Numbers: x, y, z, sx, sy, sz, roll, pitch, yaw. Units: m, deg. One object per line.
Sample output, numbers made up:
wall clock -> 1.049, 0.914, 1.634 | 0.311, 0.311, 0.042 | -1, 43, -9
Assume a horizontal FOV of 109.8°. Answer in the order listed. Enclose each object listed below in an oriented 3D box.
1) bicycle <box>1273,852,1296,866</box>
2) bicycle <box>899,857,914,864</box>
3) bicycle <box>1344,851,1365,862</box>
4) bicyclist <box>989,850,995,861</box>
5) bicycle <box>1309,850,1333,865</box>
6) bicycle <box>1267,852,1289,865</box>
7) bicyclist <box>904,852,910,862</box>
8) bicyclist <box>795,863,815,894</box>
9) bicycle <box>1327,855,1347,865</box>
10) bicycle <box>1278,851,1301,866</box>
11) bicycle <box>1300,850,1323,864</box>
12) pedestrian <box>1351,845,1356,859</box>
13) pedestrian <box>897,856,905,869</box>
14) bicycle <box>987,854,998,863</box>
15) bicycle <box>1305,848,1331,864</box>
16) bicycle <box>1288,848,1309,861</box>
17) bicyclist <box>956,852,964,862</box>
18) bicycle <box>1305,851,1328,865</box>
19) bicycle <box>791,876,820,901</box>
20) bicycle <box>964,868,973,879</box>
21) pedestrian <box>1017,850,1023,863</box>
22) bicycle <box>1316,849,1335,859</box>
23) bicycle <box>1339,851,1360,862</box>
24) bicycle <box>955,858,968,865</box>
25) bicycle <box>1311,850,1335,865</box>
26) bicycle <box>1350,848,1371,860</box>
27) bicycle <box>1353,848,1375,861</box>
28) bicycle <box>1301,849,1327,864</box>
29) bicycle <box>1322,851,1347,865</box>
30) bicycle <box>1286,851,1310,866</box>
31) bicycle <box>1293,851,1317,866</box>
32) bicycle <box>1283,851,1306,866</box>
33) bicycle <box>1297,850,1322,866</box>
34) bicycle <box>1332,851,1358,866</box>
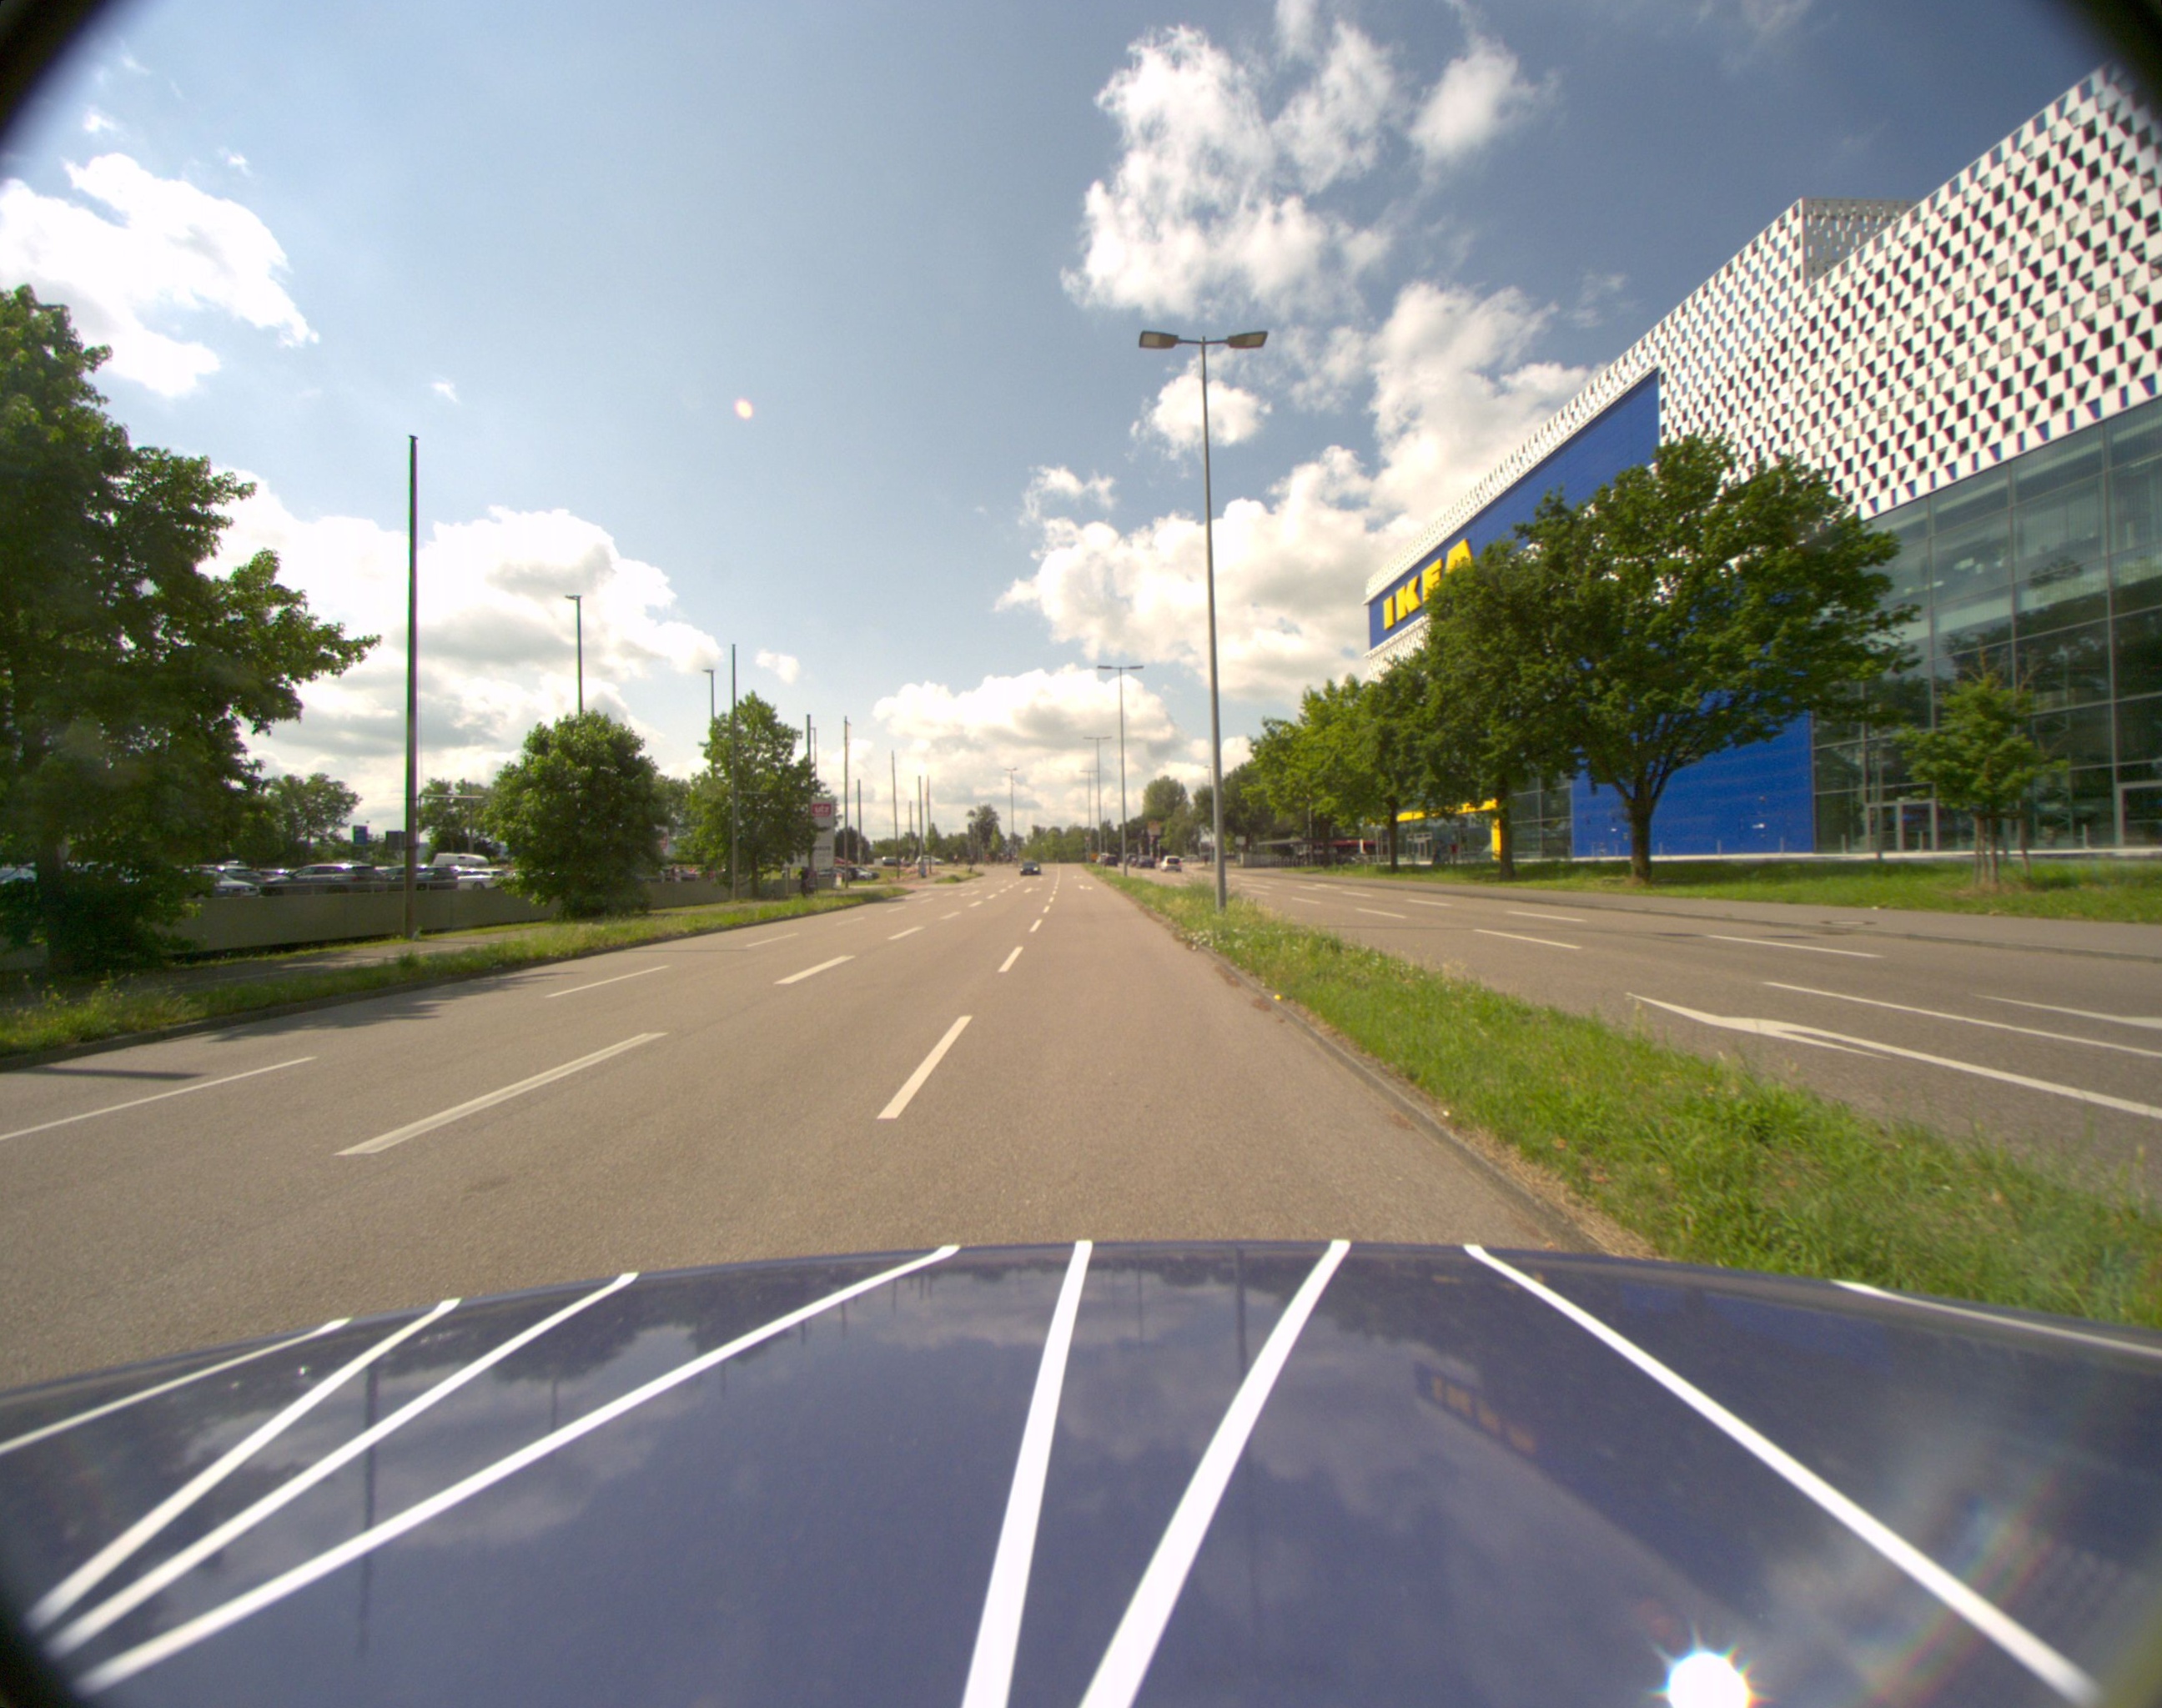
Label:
bicycle -> 19.708, 0.484, 73.604 | 2.094, 1.265, 0.629 | -2, 0, -1
bicycle -> -23.784, 0.885, 103.476 | 1.989, 0.955, 0.596 | -2, 0, -19
bicycle -> 27.800, 0.252, 77.230 | 1.940, 1.064, 0.529 | -2, 1, -5
bicyclist -> -12.885, 0.163, 110.215 | 0.698, 1.526, 0.619 | -2, 0, -25
bicycle -> 22.123, 0.340, 70.037 | 1.930, 1.265, 0.629 | -2, 0, -1
bicycle -> 19.707, 0.446, 75.987 | 1.930, 1.265, 0.629 | -2, 0, -1
bicyclist -> -23.765, 0.386, 103.495 | 0.688, 1.318, 0.592 | -2, 0, -19
bicyclist -> -12.639, 1.117, 34.857 | 0.617, 1.404, 0.715 | -1, 0, 0
bicycle -> 27.368, 0.625, 81.146 | 1.940, 1.064, 0.529 | -2, 1, -5
bicycle -> 19.864, 0.430, 72.346 | 1.930, 1.265, 0.629 | -2, 0, -1
bicycle -> 21.967, 0.329, 72.410 | 1.930, 1.265, 0.629 | -2, 0, -1
pedestrian -> 34.353, -0.243, 95.780 | 0.410, 1.693, 0.516 | -2, 0, -7
pedestrian -> -23.946, 1.140, 101.061 | 0.865, 1.754, 0.863 | 2, -3, -4
bicycle -> -12.811, 0.675, 110.251 | 1.507, 1.158, 0.620 | -2, -1, -26
bicycle -> 19.933, 0.157, 63.998 | 1.930, 1.265, 0.629 | -2, 0, -1
bicycle -> 21.743, 0.043, 76.036 | 1.930, 1.265, 0.629 | -2, 0, -1
bicyclist -> -17.132, 0.426, 107.641 | 0.649, 1.466, 0.744 | -2, 0, 42
bicycle -> 22.021, 0.385, 71.037 | 1.930, 1.176, 0.629 | -2, 0, -1
bicycle -> -12.625, 1.558, 34.868 | 0.625, 1.061, 1.968 | -1, 0, 0
bicycle -> -9.703, 1.678, 65.450 | 0.518, 0.947, 1.543 | -2, 1, -1
pedestrian -> -8.736, 0.336, 108.197 | 0.688, 1.718, 0.701 | -1, 2, 10
bicycle -> 27.030, -0.009, 84.103 | 1.940, 1.064, 0.528 | -2, 1, -7
bicycle -> 27.716, 0.272, 78.407 | 1.935, 1.083, 0.520 | -2, 0, -5
bicycle -> -16.920, 1.083, 107.830 | 0.664, 0.955, 1.699 | -2, -1, 43
bicycle -> 22.002, 0.325, 69.026 | 1.930, 1.265, 0.629 | -2, 0, -1
bicycle -> 27.863, 0.011, 75.692 | 1.940, 1.202, 0.528 | -2, 1, -5
bicycle -> 27.950, 0.022, 74.956 | 1.950, 1.236, 0.597 | -2, 1, -5
bicycle -> 19.954, 0.199, 65.093 | 1.930, 1.176, 0.629 | -2, 0, -1
bicycle -> 22.095, 0.372, 66.245 | 1.930, 1.172, 0.629 | -2, 0, -1
bicycle -> 19.971, 0.442, 69.975 | 1.930, 1.265, 0.629 | -2, 0, -1
bicycle -> 19.896, 0.398, 67.510 | 1.930, 1.265, 0.629 | -2, 0, -1
bicycle -> 19.980, 0.438, 71.059 | 1.930, 1.265, 0.629 | -2, 0, -1
bicycle -> 19.930, 0.357, 66.245 | 1.930, 1.265, 0.629 | -2, 0, -1
bicycle -> 22.320, 0.349, 64.143 | 1.930, 1.177, 0.629 | -2, 0, -1
